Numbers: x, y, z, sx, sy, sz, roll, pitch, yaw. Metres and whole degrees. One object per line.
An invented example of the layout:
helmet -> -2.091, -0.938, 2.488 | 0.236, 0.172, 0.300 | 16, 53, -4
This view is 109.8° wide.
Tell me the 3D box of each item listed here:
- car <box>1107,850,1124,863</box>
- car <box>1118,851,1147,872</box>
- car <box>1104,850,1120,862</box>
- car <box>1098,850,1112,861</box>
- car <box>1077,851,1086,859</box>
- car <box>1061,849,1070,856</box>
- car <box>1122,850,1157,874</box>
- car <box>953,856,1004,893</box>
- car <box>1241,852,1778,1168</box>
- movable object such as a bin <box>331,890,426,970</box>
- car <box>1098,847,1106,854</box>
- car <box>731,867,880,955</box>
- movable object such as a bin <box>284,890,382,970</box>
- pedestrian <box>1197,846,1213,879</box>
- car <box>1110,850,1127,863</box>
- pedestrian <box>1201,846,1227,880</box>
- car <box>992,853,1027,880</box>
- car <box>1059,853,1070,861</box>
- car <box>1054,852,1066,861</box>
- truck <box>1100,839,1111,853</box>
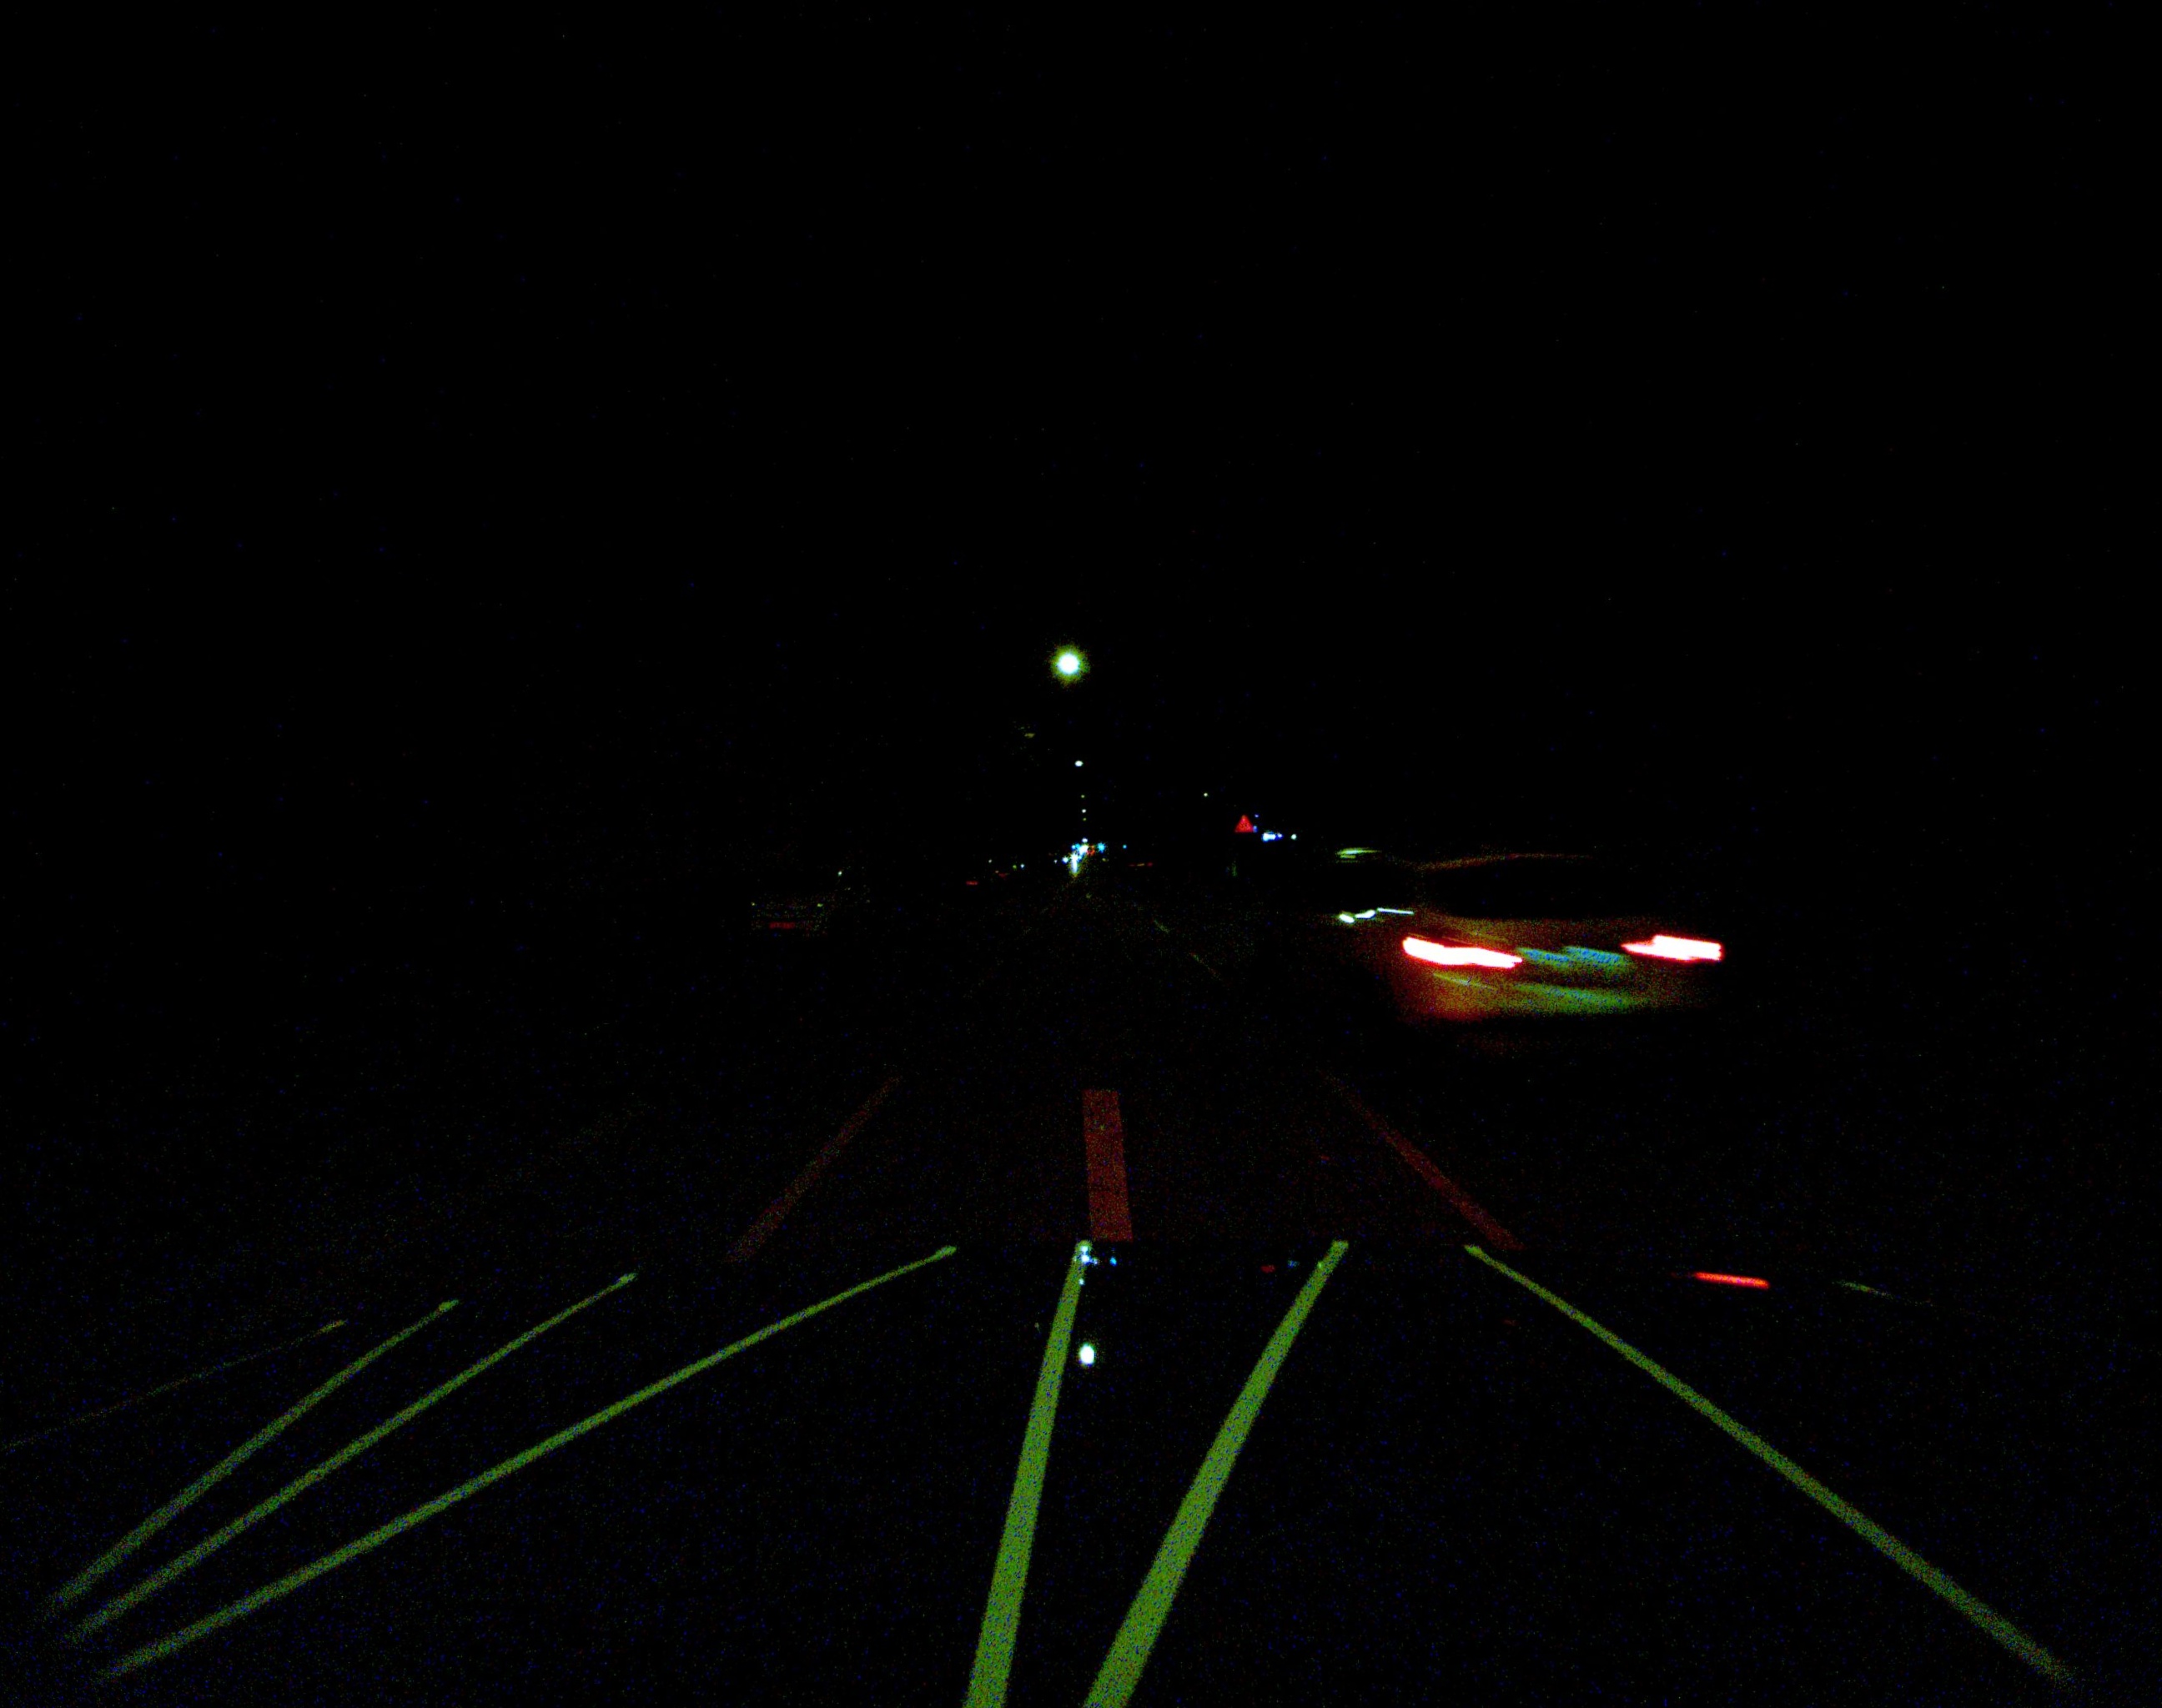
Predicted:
car -> 4.728, 0.352, 105.119 | 1.874, 1.635, 3.999 | -2, 0, -3
car -> 3.895, 0.558, 57.838 | 1.864, 1.458, 3.896 | -4, 0, -1
car -> 4.446, 0.294, 110.057 | 1.874, 1.635, 3.999 | -2, 0, -3
car -> 3.732, 0.203, 119.489 | 1.874, 1.635, 3.999 | -2, 0, -3
car -> 0.055, 0.280, 164.413 | 1.874, 1.635, 3.999 | -2, 0, 0
car -> -3.312, -0.421, 162.899 | 1.874, 1.407, 3.999 | -2, 0, 0
car -> 3.972, 0.514, 52.323 | 1.864, 1.524, 4.587 | -4, 0, -1
car -> -4.566, 0.869, 34.282 | 1.865, 1.544, 4.044 | 0, 0, -1
car -> 2.604, 0.789, 5.873 | 1.862, 1.525, 4.027 | -2, 0, 0
movable object such as a bin -> -10.042, 1.074, 10.889 | 0.609, 1.042, 0.755 | -2, 1, 1
car -> 5.005, -0.764, 180.307 | 1.873, 1.551, 4.353 | -2, 0, 1
car -> -5.334, 1.029, 15.196 | 1.672, 1.476, 3.603 | 0, 0, 0
movable object such as a bin -> -10.683, 1.066, 10.876 | 0.609, 1.042, 0.755 | -2, 1, 1
pedestrian -> 6.572, 0.426, 40.296 | 0.670, 1.716, 0.866 | -2, 1, -2
car -> 4.970, 0.325, 100.863 | 1.874, 1.635, 3.999 | -2, 0, -3
pedestrian -> 6.847, 0.448, 39.059 | 1.105, 1.662, 0.742 | -3, 2, -45
car -> -4.450, 0.769, 47.803 | 1.742, 1.588, 4.359 | 0, 0, 1
car -> -2.978, 0.565, 134.794 | 1.874, 1.407, 3.999 | -2, 0, 0
car -> -3.575, 0.390, 128.890 | 1.874, 1.407, 3.999 | -2, 0, 0
truck -> 4.971, -1.628, 155.502 | 2.084, 2.562, 6.873 | -2, 0, 1
